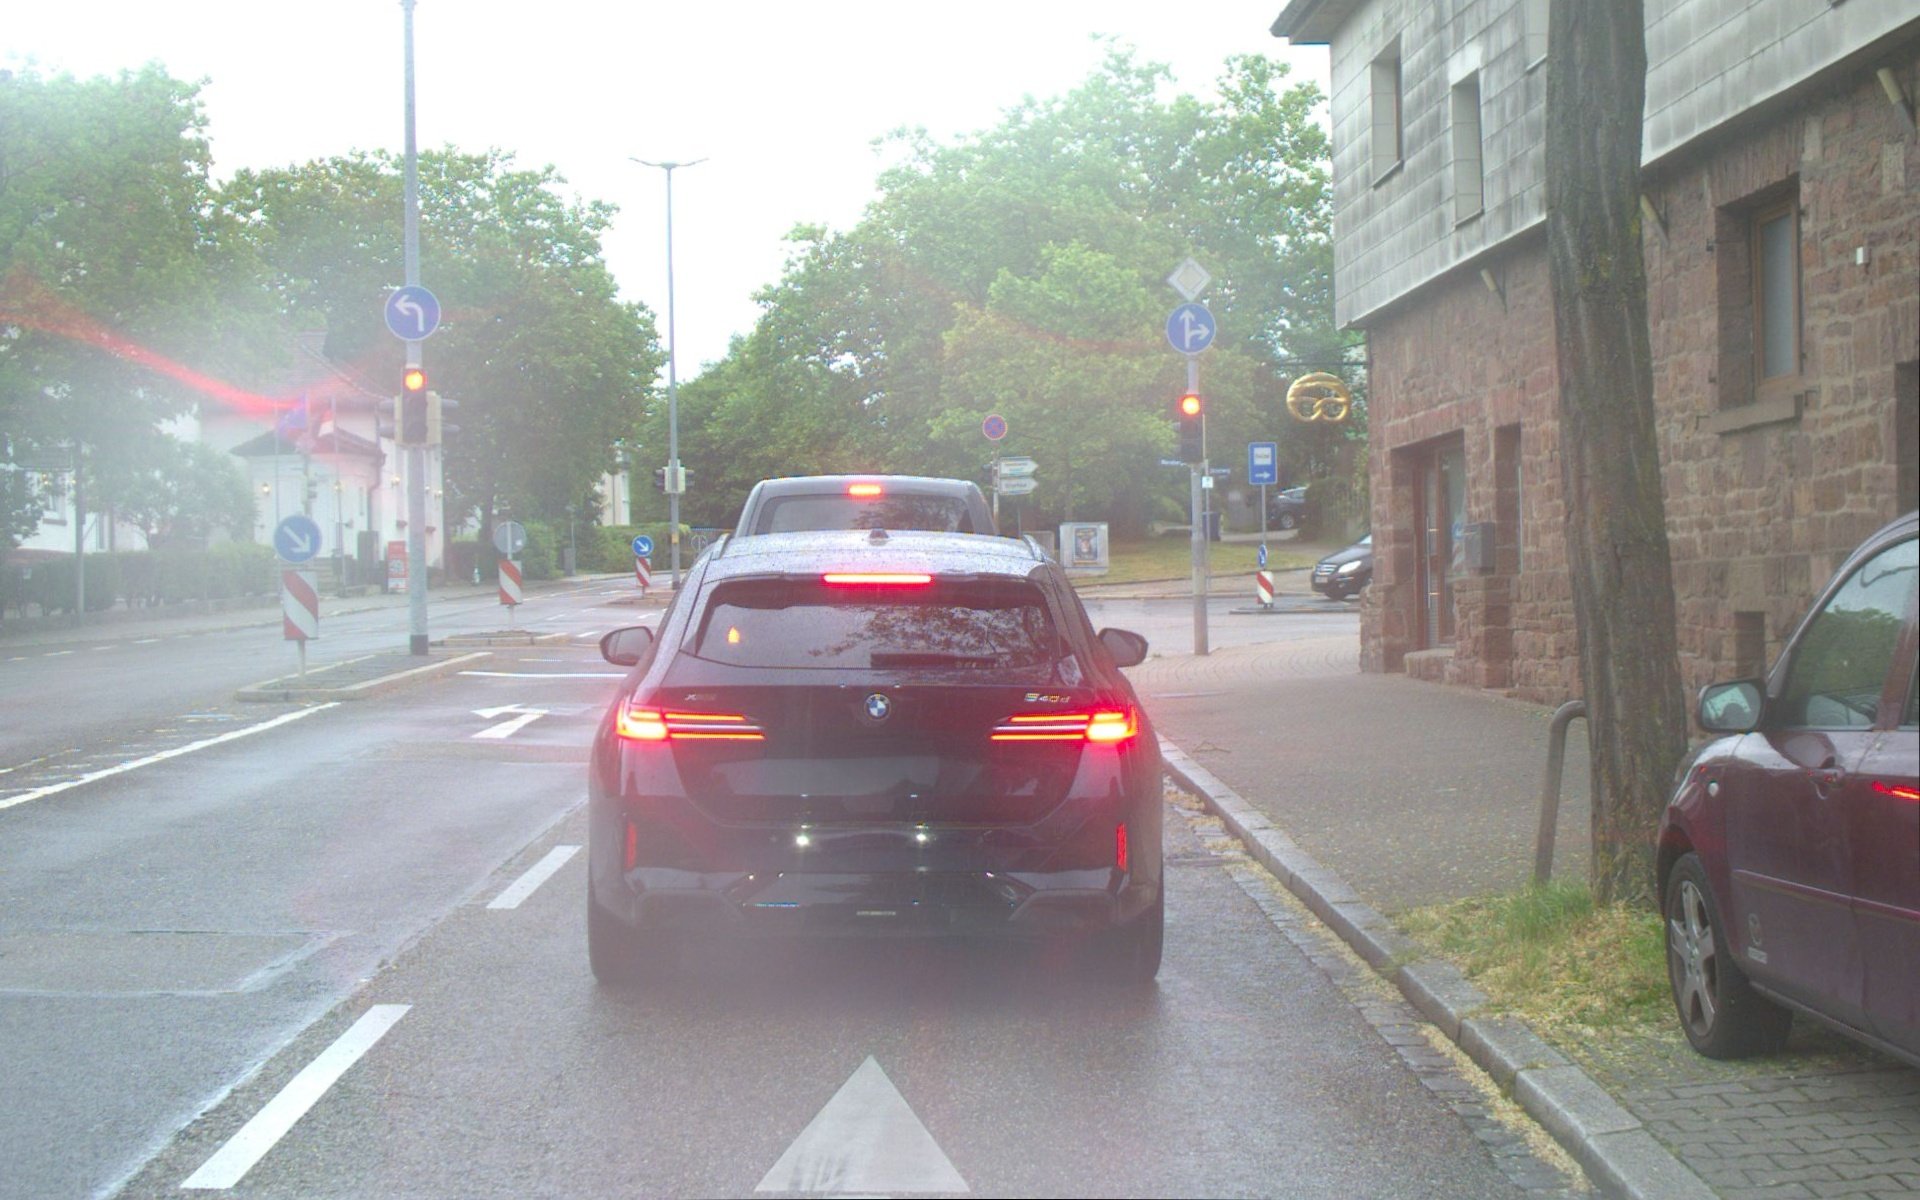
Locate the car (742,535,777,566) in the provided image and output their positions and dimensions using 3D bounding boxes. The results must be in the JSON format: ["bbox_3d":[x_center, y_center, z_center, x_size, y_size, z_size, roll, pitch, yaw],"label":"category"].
[{"bbox_3d":[-9.014,-2.233,154.824,1.464,1.393,3.322,0,1,-1],"label":"car"}]

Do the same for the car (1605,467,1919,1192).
[{"bbox_3d":[2.719,0.429,7.806,1.583,1.485,3.628,-3,2,-3],"label":"car"}]

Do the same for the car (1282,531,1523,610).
[{"bbox_3d":[9.122,-0.606,71.008,4.467,1.581,2.072,0,1,-19],"label":"car"}]

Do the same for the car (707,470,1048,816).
[{"bbox_3d":[-0.522,0.176,20.036,1.783,1.811,4.001,0,1,-3],"label":"car"}]

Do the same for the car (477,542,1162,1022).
[{"bbox_3d":[-0.536,0.519,12.680,2.064,1.441,4.484,1,1,-3],"label":"car"}]
